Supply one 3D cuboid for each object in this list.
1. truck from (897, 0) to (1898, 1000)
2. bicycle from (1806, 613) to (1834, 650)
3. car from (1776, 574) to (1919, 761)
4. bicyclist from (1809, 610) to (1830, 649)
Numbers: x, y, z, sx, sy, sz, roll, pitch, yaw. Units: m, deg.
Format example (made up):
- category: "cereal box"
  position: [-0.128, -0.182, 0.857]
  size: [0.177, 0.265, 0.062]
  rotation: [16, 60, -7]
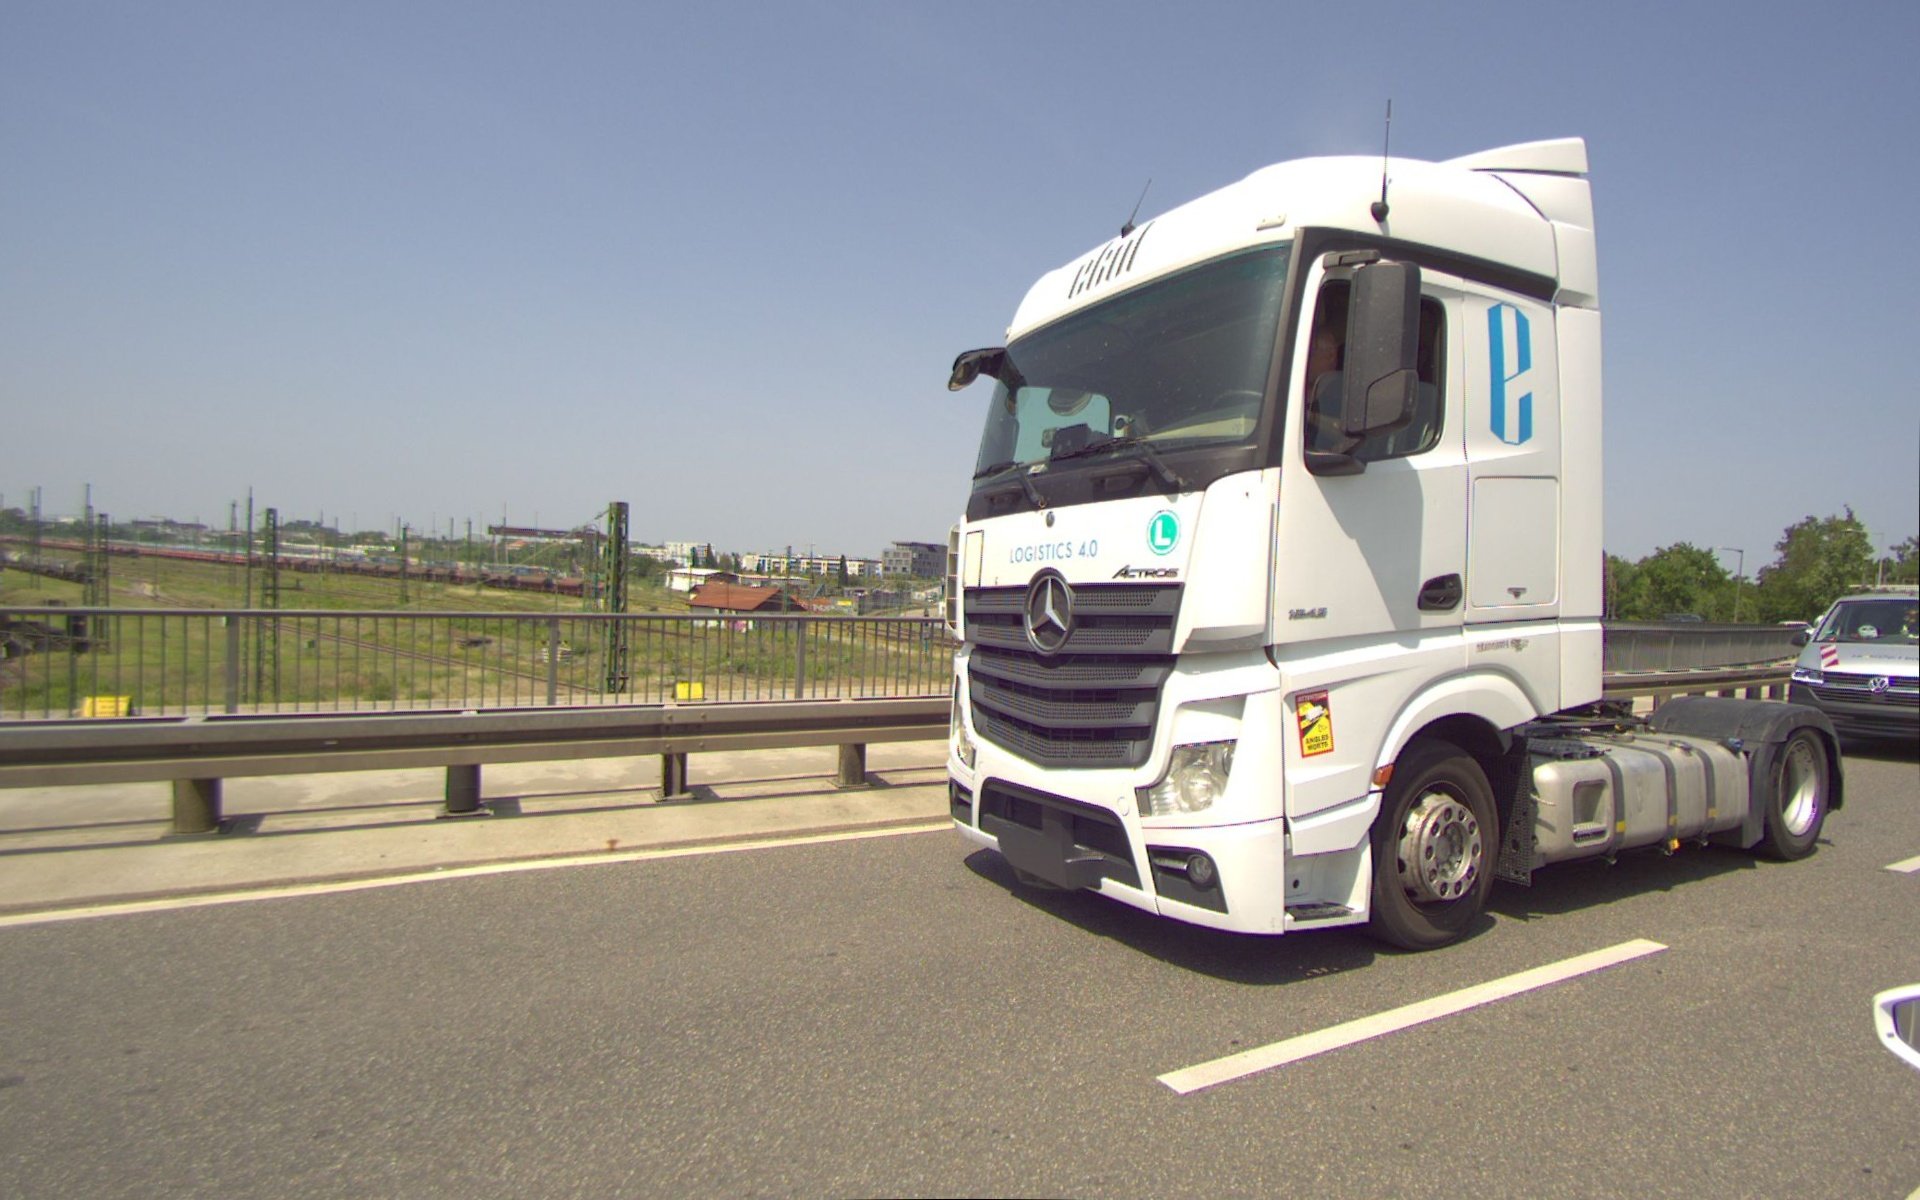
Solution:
- category: "truck"
  position: [2.947, -0.509, 6.348]
  size: [6.112, 4.044, 2.693]
  rotation: [1, -1, -30]
- category: "bicycle"
  position: [43.835, 1.573, 51.209]
  size: [0.688, 1.826, 2.175]
  rotation: [2, 1, 32]
- category: "car"
  position: [12.158, 0.788, 12.623]
  size: [4.769, 2.026, 1.848]
  rotation: [2, 0, -37]
- category: "bicyclist"
  position: [43.859, 1.498, 51.266]
  size: [0.615, 1.911, 0.711]
  rotation: [2, 1, 31]
